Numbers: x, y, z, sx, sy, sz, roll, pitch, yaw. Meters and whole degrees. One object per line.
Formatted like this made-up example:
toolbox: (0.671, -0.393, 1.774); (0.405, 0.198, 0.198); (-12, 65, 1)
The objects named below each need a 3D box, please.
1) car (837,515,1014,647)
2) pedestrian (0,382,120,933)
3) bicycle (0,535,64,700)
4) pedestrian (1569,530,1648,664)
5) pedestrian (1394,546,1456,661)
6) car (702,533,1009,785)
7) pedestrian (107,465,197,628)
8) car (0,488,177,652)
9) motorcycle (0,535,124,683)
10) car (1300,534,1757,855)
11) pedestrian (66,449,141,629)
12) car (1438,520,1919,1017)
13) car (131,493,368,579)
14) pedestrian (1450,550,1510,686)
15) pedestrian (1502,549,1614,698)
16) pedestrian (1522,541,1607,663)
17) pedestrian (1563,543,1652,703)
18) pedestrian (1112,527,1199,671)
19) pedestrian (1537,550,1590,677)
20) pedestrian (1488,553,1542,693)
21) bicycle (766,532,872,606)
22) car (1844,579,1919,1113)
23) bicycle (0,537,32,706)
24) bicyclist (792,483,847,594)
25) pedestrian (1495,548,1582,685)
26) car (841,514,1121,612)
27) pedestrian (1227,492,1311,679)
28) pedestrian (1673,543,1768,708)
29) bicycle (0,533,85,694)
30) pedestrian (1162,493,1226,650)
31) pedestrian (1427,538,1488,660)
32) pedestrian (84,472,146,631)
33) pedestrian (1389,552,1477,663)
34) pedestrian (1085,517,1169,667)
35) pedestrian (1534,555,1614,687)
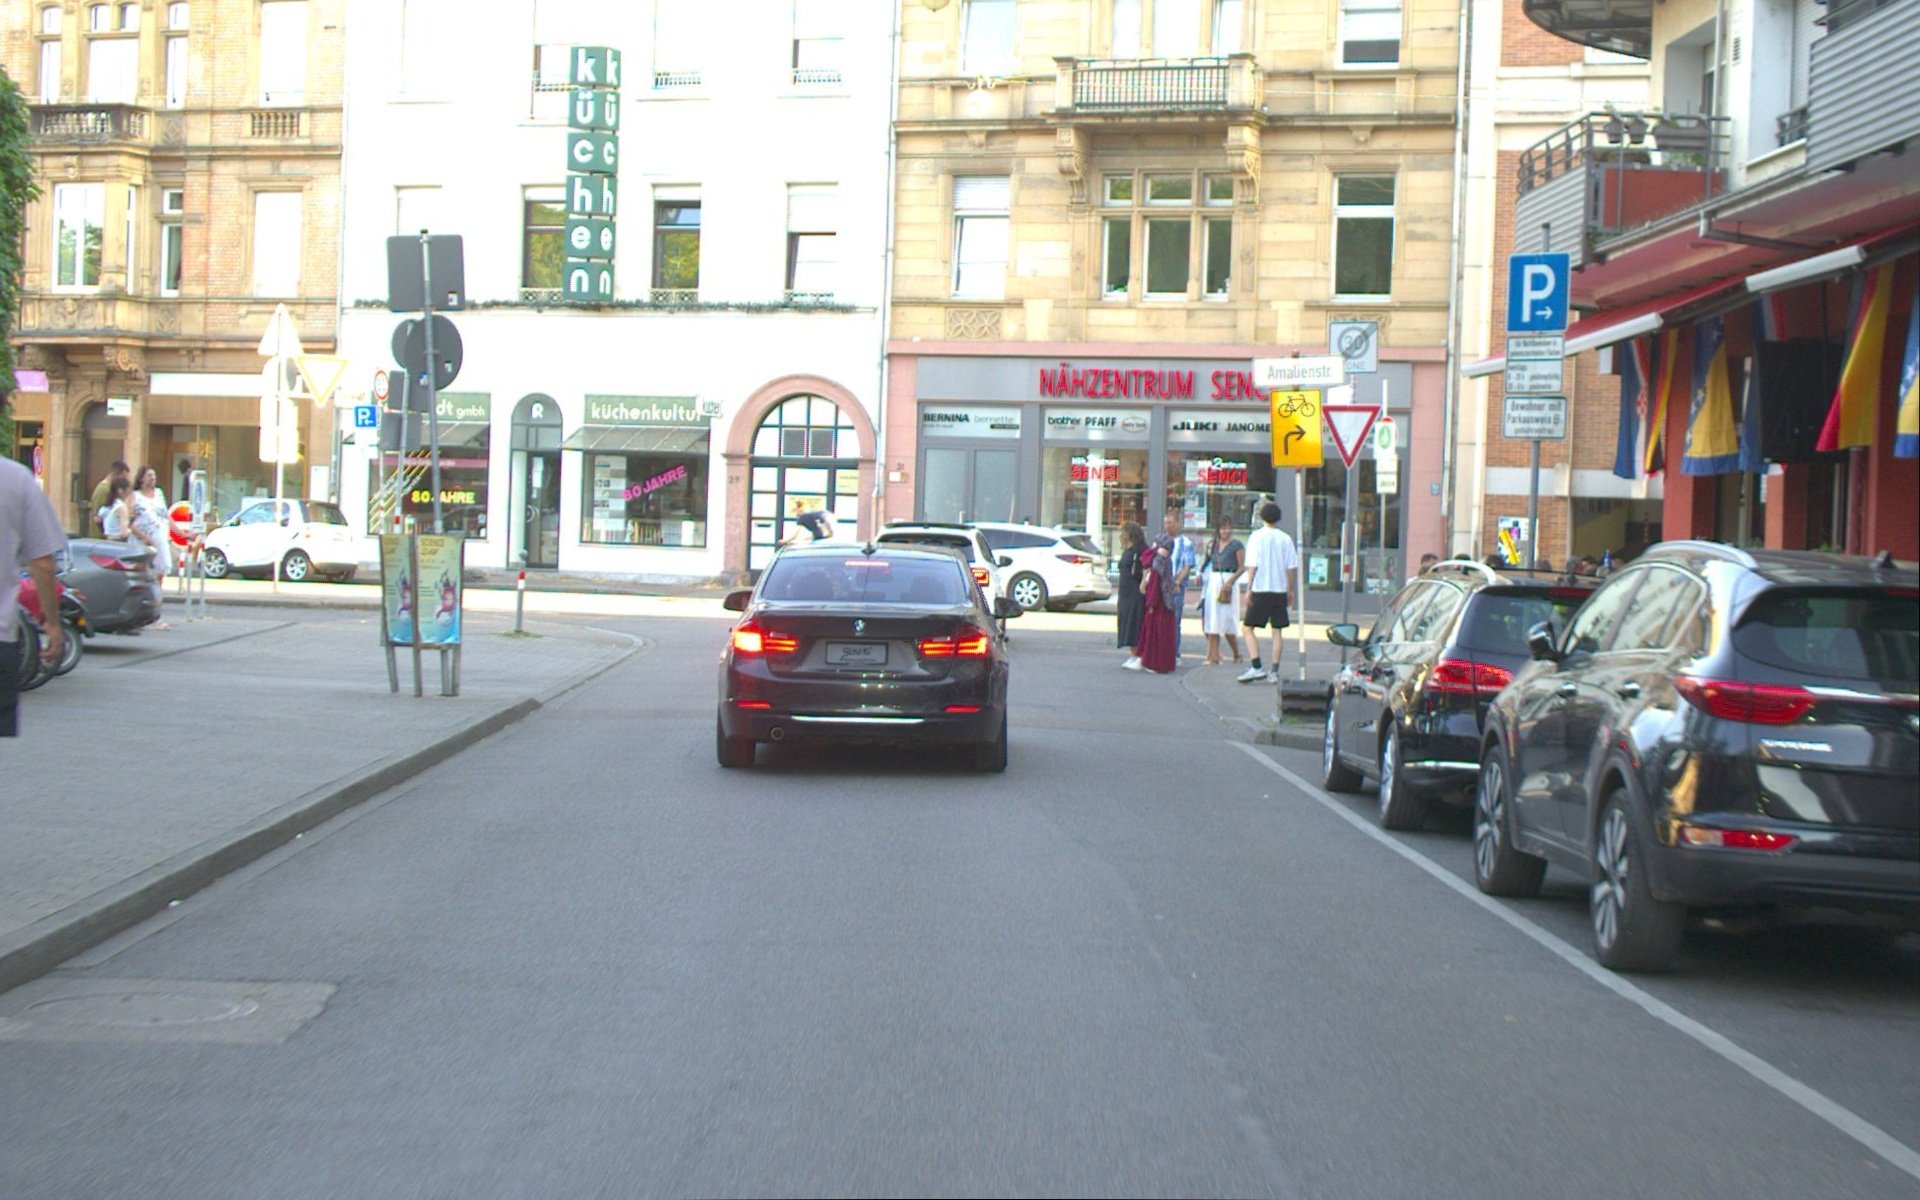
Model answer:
car: (-0.364, -0.266, 41.506); (1.877, 1.468, 4.000); (1, 2, 3)
pedestrian: (-3.550, 0.168, 12.325); (0.744, 1.887, 1.050); (3, 2, 0)
bicycle: (-7.162, 0.081, 23.703); (1.794, 1.104, 0.500); (3, 1, -4)
pedestrian: (5.886, -0.030, 31.218); (0.417, 1.197, 0.537); (-3, 2, -43)
pedestrian: (5.182, 0.036, 38.337); (0.617, 1.250, 0.735); (1, 2, 5)
car: (-0.640, 0.303, 22.747); (1.765, 1.370, 4.791); (2, 2, -1)
pedestrian: (-8.748, -0.583, 37.210); (0.673, 1.740, 0.655); (2, 2, 39)
car: (-9.544, -0.321, 32.634); (3.986, 1.496, 1.892); (1, 2, -9)
motorcycle: (-7.348, 0.055, 26.255); (1.745, 1.097, 0.567); (2, 2, -35)
car: (3.198, 0.448, 20.305); (1.765, 1.497, 4.791); (4, 2, -1)
pedestrian: (-9.088, -0.650, 36.476); (0.583, 1.875, 0.633); (1, 2, 5)
car: (3.311, 0.563, 14.414); (1.765, 1.636, 4.791); (4, 2, -1)
car: (-13.244, -1.186, 64.107); (3.991, 1.505, 1.798); (1, 1, 22)
pedestrian: (5.067, 0.169, 33.531); (0.491, 1.298, 0.418); (-1, 1, -1)
pedestrian: (5.195, 0.199, 29.889); (0.859, 1.252, 0.491); (-1, 1, -1)
pedestrian: (6.484, 0.016, 36.854); (0.618, 1.274, 0.699); (2, 2, 37)
pedestrian: (5.286, 0.180, 28.085); (0.687, 1.282, 0.608); (0, 1, 9)
pedestrian: (2.114, -0.021, 37.304); (0.735, 1.508, 0.650); (3, 1, -10)
pedestrian: (6.158, 0.131, 35.074); (0.490, 1.272, 0.521); (1, 2, 12)
pedestrian: (5.039, 0.205, 31.209); (0.343, 1.252, 0.359); (-1, 2, 33)
bicycle: (-2.270, -0.503, 55.295); (1.799, 1.104, 0.536); (3, 2, 42)
car: (3.596, 0.791, 7.882); (1.698, 1.447, 4.459); (4, 2, -3)
bicycle: (-7.189, 0.100, 22.999); (1.794, 1.104, 0.500); (3, 1, -6)
bicyclist: (-2.258, -0.984, 55.275); (0.619, 1.750, 0.524); (3, 1, 42)
pedestrian: (5.524, 0.153, 32.829); (0.626, 1.272, 0.511); (-3, 2, -38)
car: (0.363, -0.639, 58.440); (4.356, 1.557, 1.866); (1, 1, 22)
pedestrian: (3.162, -0.155, 35.205); (0.676, 1.871, 0.701); (2, 1, -5)
pedestrian: (6.299, 0.205, 28.487); (0.606, 1.343, 0.696); (0, 1, -2)
bicycle: (-7.226, 0.059, 24.511); (1.794, 1.104, 0.500); (3, 1, -1)
pedestrian: (2.639, -0.329, 38.727); (0.667, 1.740, 0.606); (1, 2, 5)
pedestrian: (5.368, -0.019, 37.122); (0.617, 1.279, 0.659); (1, 2, 7)
pedestrian: (-8.812, -0.514, 35.861); (0.500, 1.637, 0.521); (1, 2, 1)
pedestrian: (5.015, 0.073, 36.473); (0.890, 1.145, 0.619); (1, 2, 6)
pedestrian: (1.842, -0.092, 37.939); (0.724, 1.603, 0.650); (3, 1, -10)
pedestrian: (5.705, 0.192, 31.947); (0.417, 1.197, 0.569); (-3, 2, -42)
